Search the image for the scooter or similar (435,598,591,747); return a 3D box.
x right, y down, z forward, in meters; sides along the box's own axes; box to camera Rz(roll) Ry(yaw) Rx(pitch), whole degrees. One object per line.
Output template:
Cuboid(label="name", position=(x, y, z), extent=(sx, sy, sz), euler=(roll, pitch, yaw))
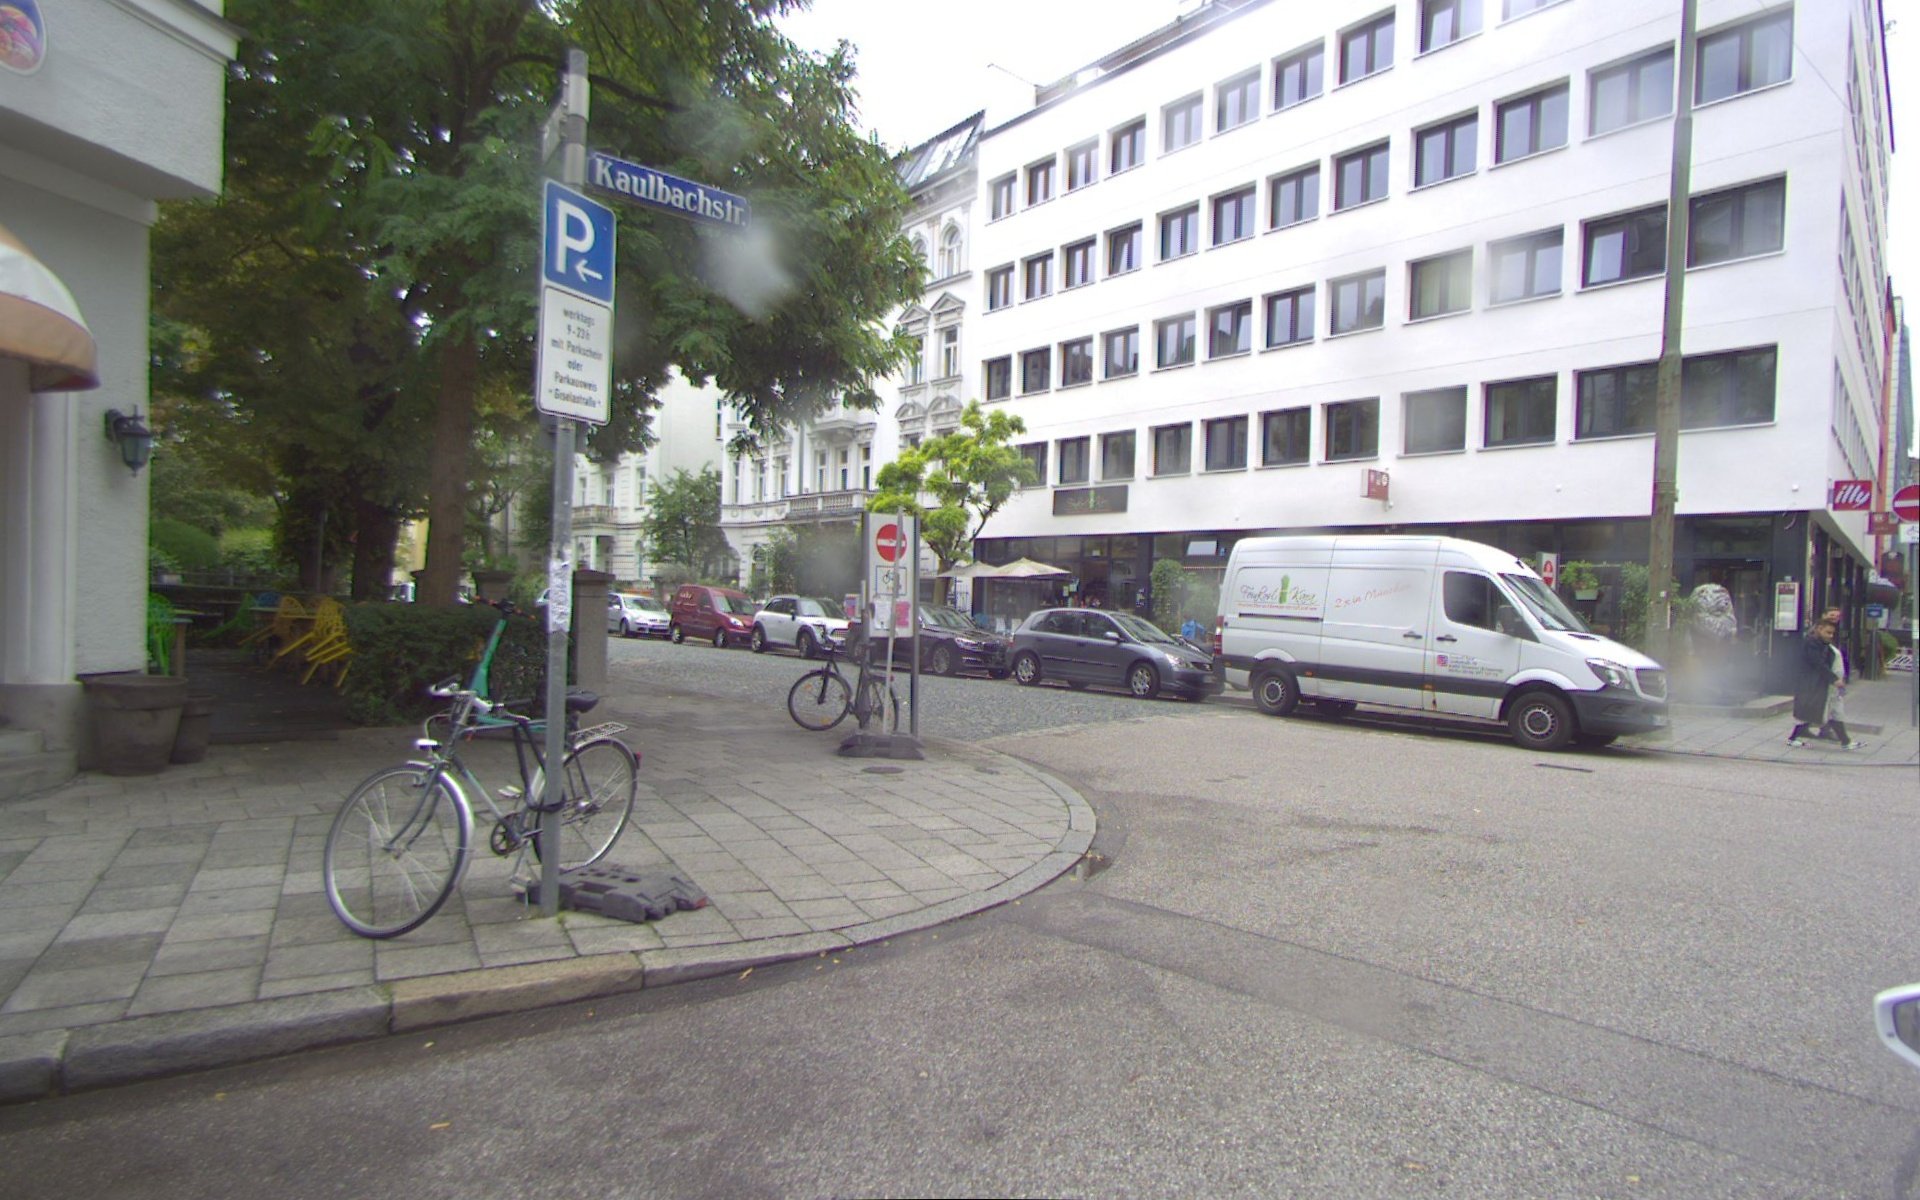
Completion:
Cuboid(label="scooter or similar", position=(-3.902, 0.629, 8.845), extent=(1.169, 1.232, 0.553), euler=(2, 1, -20))

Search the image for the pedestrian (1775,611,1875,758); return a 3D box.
Cuboid(label="pedestrian", position=(11.226, 1.070, 13.069), extent=(0.779, 1.770, 0.769), euler=(4, 4, 33))

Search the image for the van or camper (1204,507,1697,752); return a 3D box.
Cuboid(label="van or camper", position=(6.422, 0.332, 13.962), extent=(1.859, 2.712, 5.854), euler=(4, -2, -40))

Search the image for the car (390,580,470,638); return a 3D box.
Cuboid(label="car", position=(-16.874, 0.283, 31.871), extent=(1.892, 1.629, 4.102), euler=(4, -2, -32))

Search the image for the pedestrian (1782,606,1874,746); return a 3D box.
Cuboid(label="pedestrian", position=(11.903, 1.017, 13.803), extent=(0.766, 1.808, 0.617), euler=(4, 4, 33))

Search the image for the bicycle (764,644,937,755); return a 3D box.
Cuboid(label="bicycle", position=(-1.149, 1.001, 10.525), extent=(1.537, 0.959, 0.897), euler=(3, -1, 32))

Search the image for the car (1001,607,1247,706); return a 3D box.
Cuboid(label="car", position=(2.829, 0.961, 17.923), extent=(1.788, 1.447, 4.012), euler=(5, -2, -44))

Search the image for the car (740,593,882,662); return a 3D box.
Cuboid(label="car", position=(-3.902, 0.675, 25.817), extent=(1.785, 1.564, 4.092), euler=(4, -1, -38))

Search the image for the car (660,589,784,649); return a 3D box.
Cuboid(label="car", position=(-7.166, 0.532, 30.046), extent=(1.898, 1.629, 4.088), euler=(2, 0, -41))

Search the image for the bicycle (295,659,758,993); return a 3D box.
Cuboid(label="bicycle", position=(-1.839, 0.855, 4.482), extent=(0.884, 1.059, 1.652), euler=(4, 1, 35))

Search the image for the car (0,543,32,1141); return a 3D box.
Cuboid(label="car", position=(-3.872, 0.587, 1.079), extent=(3.901, 1.618, 1.668), euler=(2, -2, -32))

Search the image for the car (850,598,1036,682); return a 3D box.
Cuboid(label="car", position=(-0.460, 0.824, 21.601), extent=(1.785, 1.564, 4.090), euler=(4, -2, -39))

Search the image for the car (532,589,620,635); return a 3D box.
Cuboid(label="car", position=(-14.989, 0.426, 39.135), extent=(1.898, 1.629, 4.088), euler=(-1, 2, -41))

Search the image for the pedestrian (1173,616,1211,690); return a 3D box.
Cuboid(label="pedestrian", position=(4.954, 1.117, 21.453), extent=(0.580, 1.501, 0.653), euler=(4, 0, 2))

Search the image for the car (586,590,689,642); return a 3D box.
Cuboid(label="car", position=(-11.146, 0.515, 34.546), extent=(1.898, 1.629, 4.088), euler=(2, 0, -41))
